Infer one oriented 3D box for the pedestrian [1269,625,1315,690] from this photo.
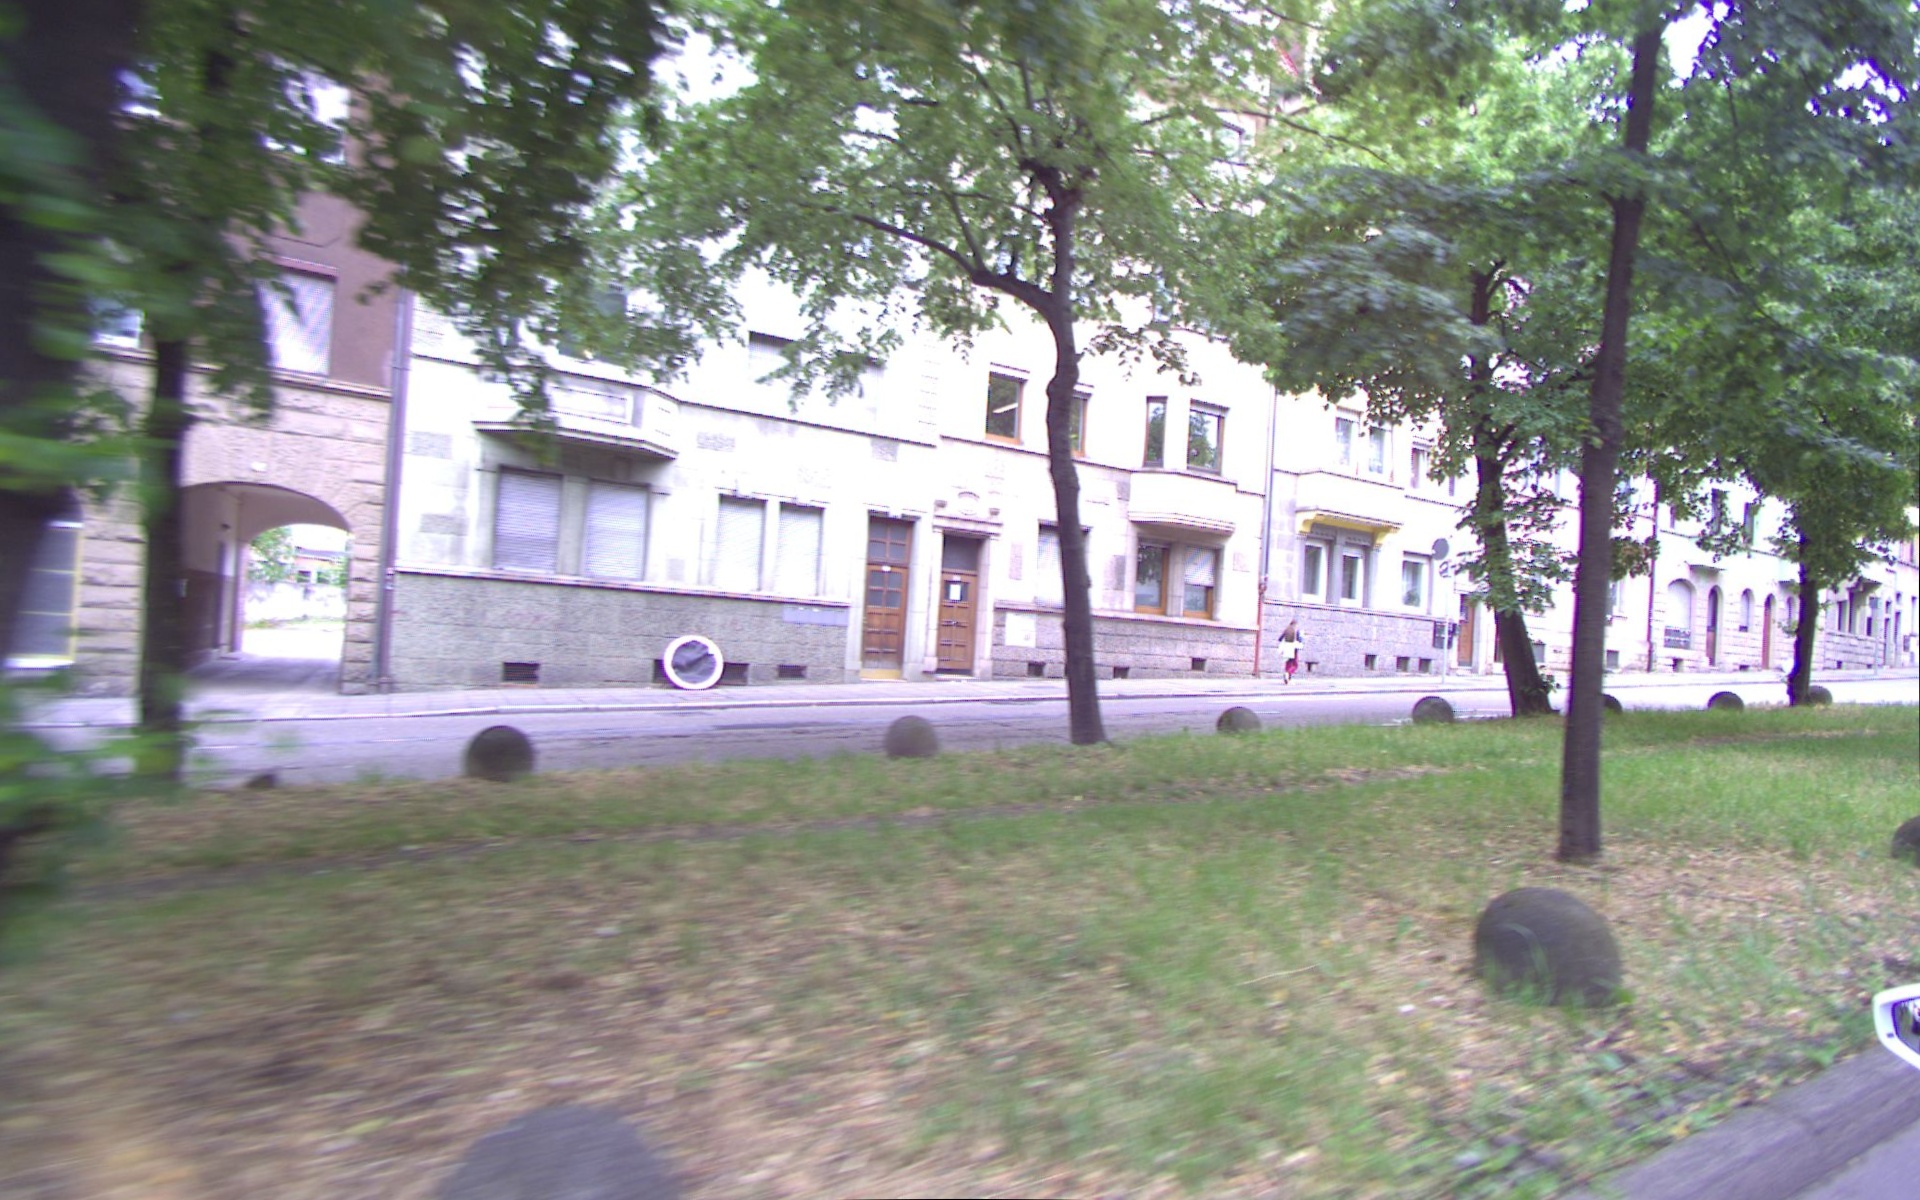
[{"bbox_3d":[7.775,1.332,23.513,0.695,1.480,0.695,2,0,-29],"label":"pedestrian"}]
